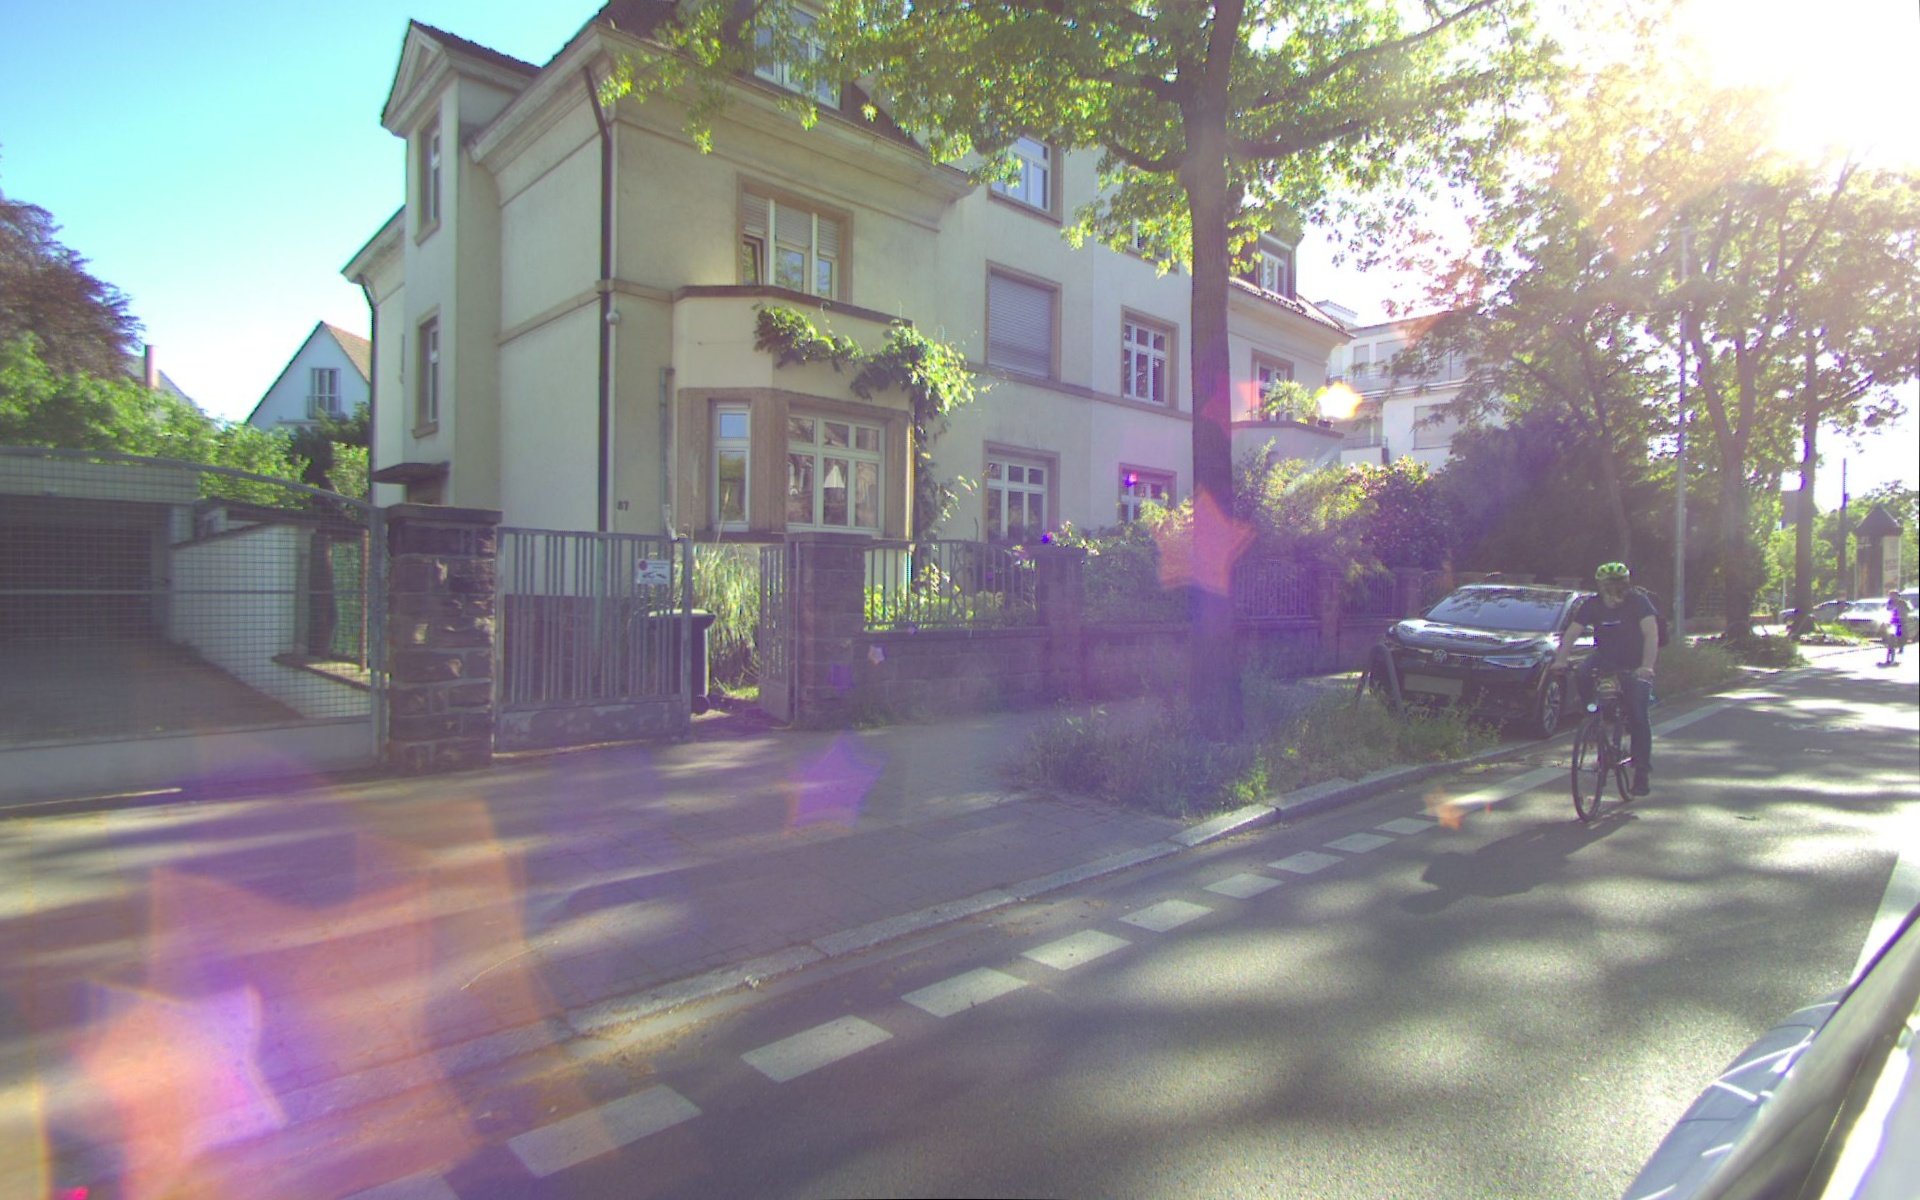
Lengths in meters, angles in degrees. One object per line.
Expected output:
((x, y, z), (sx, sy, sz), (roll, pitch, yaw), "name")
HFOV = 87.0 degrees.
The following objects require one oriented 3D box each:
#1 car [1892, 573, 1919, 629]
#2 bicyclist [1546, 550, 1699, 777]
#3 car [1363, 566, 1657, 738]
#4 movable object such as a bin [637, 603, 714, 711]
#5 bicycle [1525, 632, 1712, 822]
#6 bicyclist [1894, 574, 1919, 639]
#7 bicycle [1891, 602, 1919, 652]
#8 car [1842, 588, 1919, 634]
((36.786, 0.041, 38.085), (4.503, 2.039, 1.997), (0, 1, -41), "car")
((4.814, 0.416, 7.340), (1.095, 1.506, 0.645), (0, 0, -41), "bicyclist")
((6.645, 0.493, 12.052), (4.021, 1.626, 1.743), (0, 4, -42), "car")
((-3.062, 0.573, 10.833), (0.697, 1.070, 1.093), (0, 0, -20), "movable object such as a bin")
((4.823, 0.844, 7.355), (1.868, 1.158, 0.644), (0, 0, -41), "bicycle")
((22.905, 0.154, 24.270), (1.095, 1.507, 0.622), (1, -1, -41), "bicyclist")
((22.915, 0.640, 24.280), (1.783, 1.158, 0.644), (0, 0, -41), "bicycle")
((31.551, 0.330, 34.424), (3.930, 1.469, 1.785), (0, 1, -41), "car")
